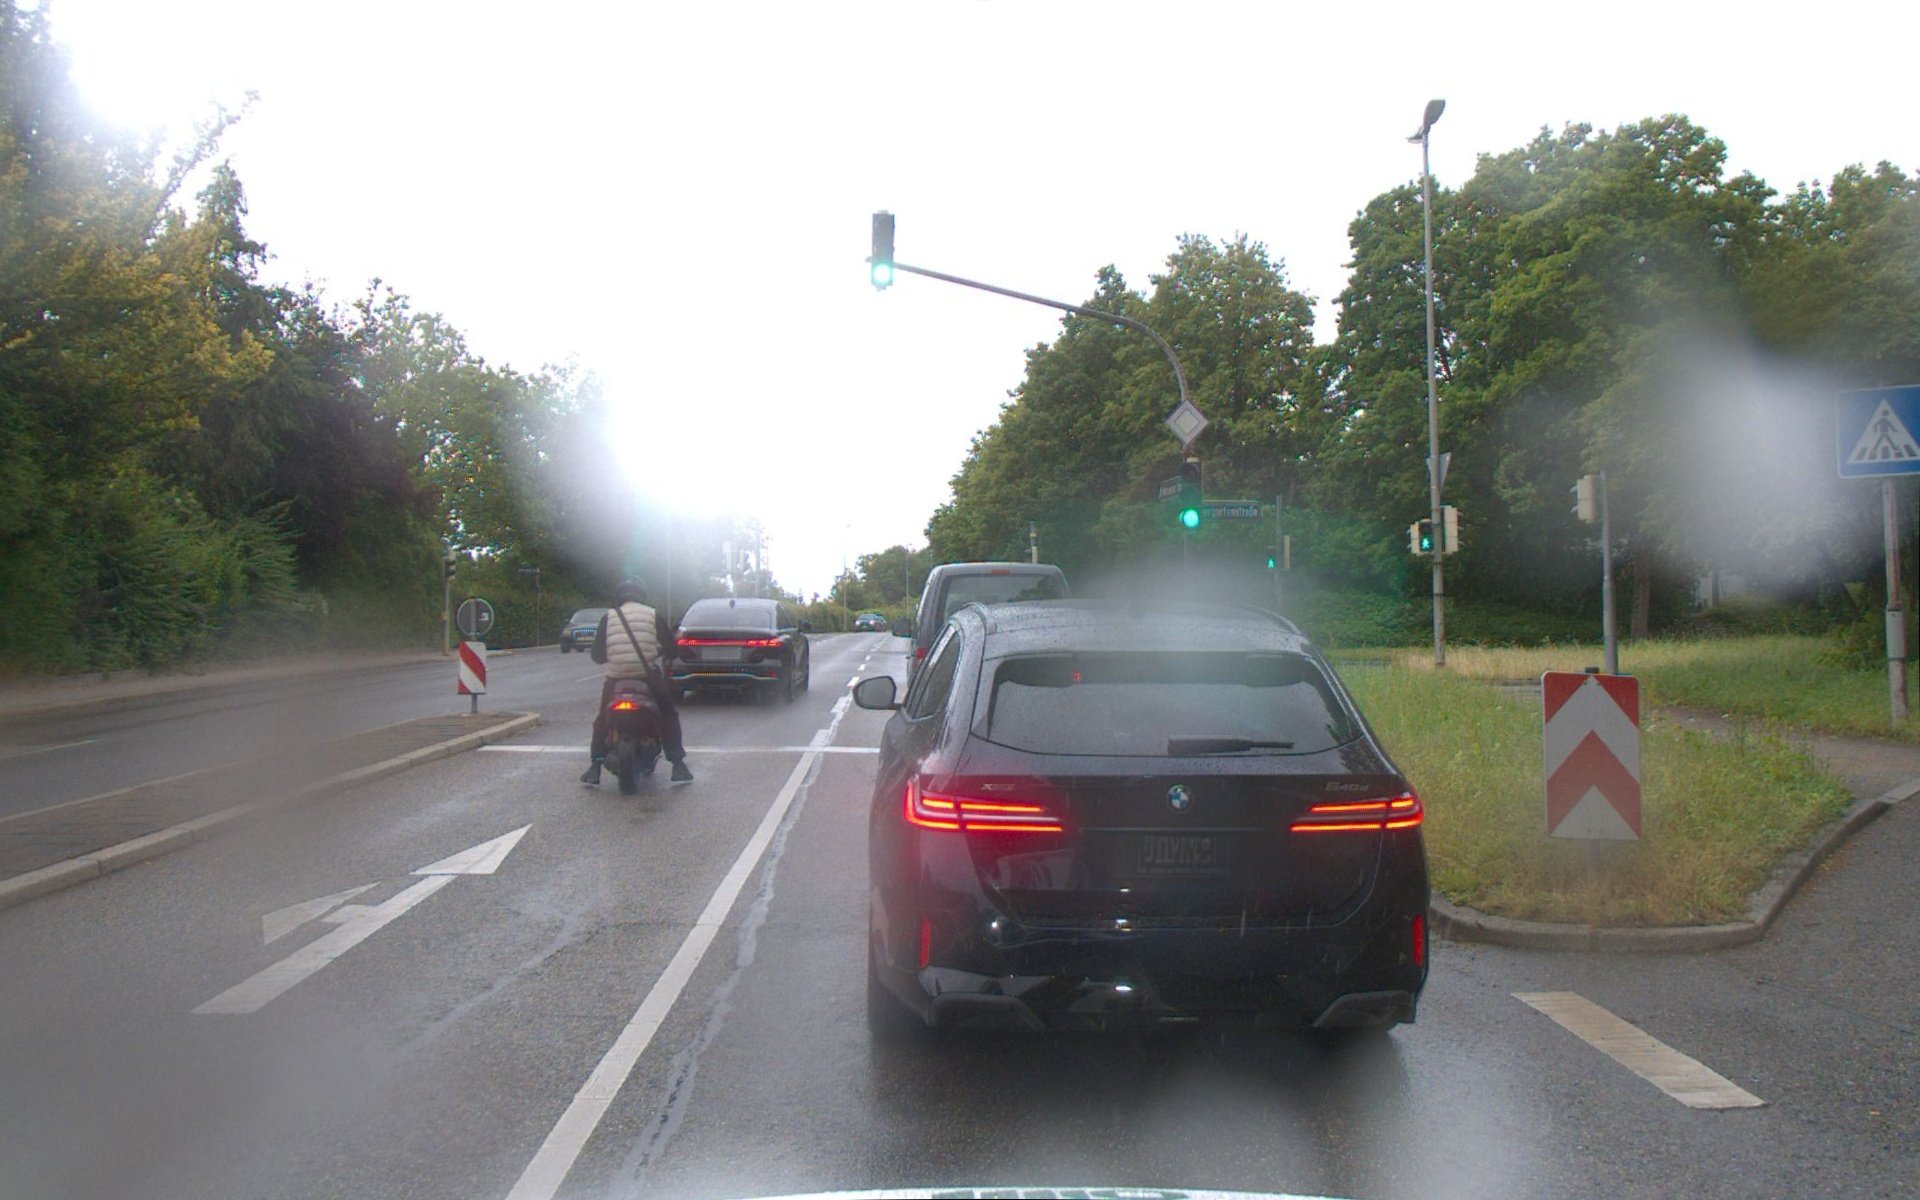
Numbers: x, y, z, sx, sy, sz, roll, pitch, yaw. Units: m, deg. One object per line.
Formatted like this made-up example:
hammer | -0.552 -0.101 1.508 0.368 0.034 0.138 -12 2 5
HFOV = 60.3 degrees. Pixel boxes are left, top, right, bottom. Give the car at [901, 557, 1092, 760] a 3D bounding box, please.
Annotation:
car | 0.308 0.516 17.072 1.731 1.841 3.905 0 0 -1

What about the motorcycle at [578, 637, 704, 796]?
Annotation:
motorcycle | -2.493 0.888 13.075 0.726 1.139 1.426 1 0 -1

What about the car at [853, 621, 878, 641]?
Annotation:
car | -8.012 2.632 139.920 1.984 1.590 3.875 -2 0 -2

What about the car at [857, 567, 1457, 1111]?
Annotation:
car | 0.547 0.687 6.613 1.728 1.563 3.672 0 0 -1

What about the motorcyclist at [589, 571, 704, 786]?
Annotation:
motorcyclist | -2.485 0.610 13.153 0.828 1.676 0.468 0 0 -1

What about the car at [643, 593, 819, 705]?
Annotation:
car | -3.205 0.633 23.985 1.974 1.440 4.485 0 1 -1

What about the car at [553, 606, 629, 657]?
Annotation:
car | -12.008 0.989 54.035 1.826 1.518 3.830 -1 0 -4
